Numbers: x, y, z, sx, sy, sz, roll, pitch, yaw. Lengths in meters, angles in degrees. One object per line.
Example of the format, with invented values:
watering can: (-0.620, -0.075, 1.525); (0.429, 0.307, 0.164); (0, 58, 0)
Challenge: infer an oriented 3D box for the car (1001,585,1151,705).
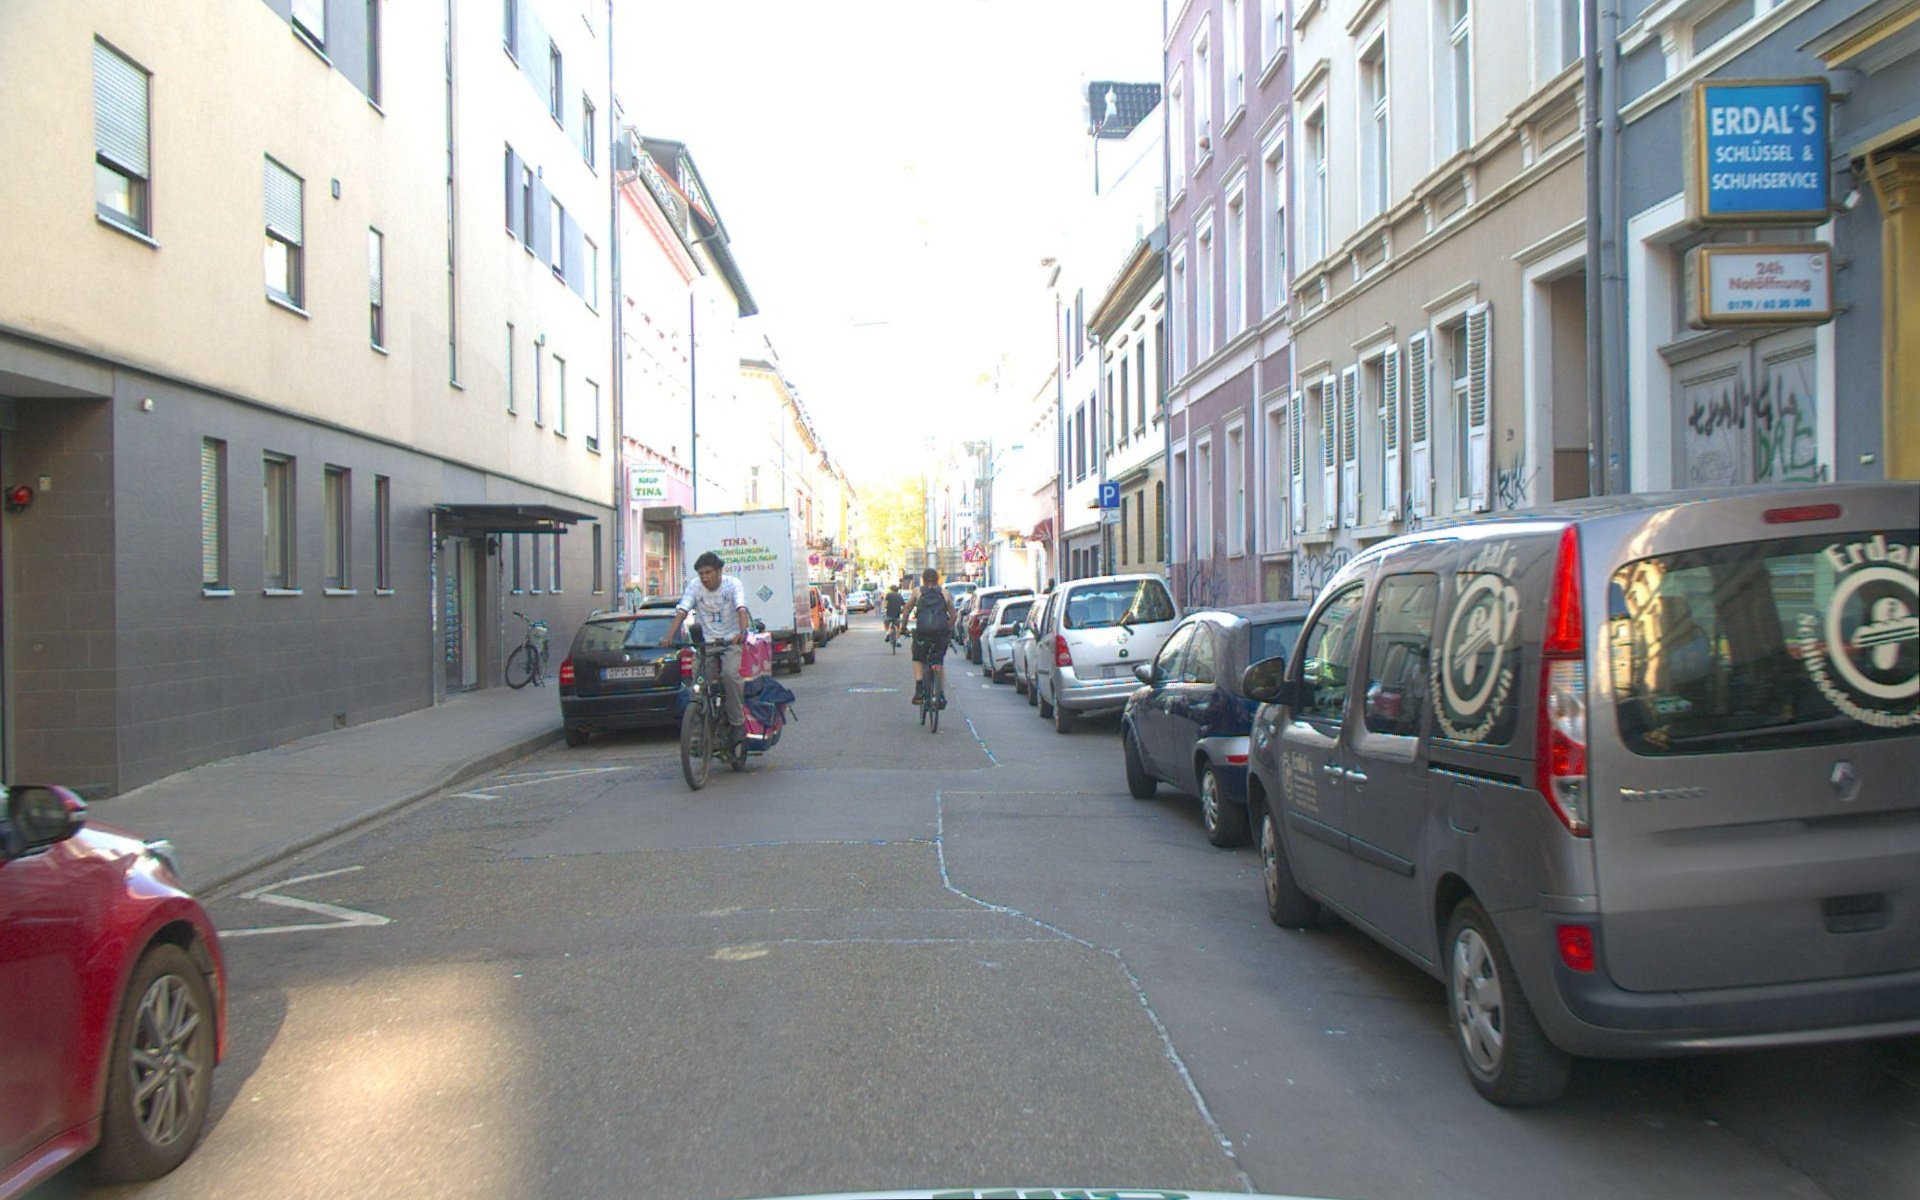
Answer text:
car: (1.648, 0.630, 25.029); (1.663, 1.570, 4.626); (-3, 0, -3)

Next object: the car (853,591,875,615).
car: (-7.846, 0.265, 135.441); (1.715, 1.853, 3.794); (-2, 0, -3)

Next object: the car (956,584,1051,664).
car: (0.953, 0.518, 38.543); (1.879, 1.736, 4.364); (0, 0, -3)

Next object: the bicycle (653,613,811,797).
bicycle: (-1.868, 0.818, 13.990); (0.957, 1.337, 2.555); (-2, 0, 0)

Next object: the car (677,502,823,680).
car: (-4.385, -0.169, 35.752); (2.296, 3.349, 7.151); (-3, 0, -2)

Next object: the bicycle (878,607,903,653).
bicycle: (-1.800, 0.764, 42.904); (0.635, 1.149, 2.134); (0, 0, -3)

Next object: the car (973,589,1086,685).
car: (1.215, 0.650, 30.440); (1.653, 1.570, 4.044); (-3, 0, -3)

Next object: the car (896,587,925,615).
car: (-2.882, 0.074, 95.623); (1.579, 1.587, 3.608); (0, 0, -3)

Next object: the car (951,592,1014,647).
car: (0.650, 0.581, 51.152); (1.613, 1.500, 3.968); (-5, 0, -3)

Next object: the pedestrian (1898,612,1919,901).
pedestrian: (4.650, 0.705, 7.302); (0.662, 1.299, 0.628); (0, -1, -1)

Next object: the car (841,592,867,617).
car: (-7.590, 0.347, 118.421); (1.715, 1.713, 3.794); (-2, 0, -3)

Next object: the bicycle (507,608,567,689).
bicycle: (-6.665, 0.746, 26.148); (0.480, 1.185, 1.773); (-3, 0, -1)

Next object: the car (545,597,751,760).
car: (-3.512, 0.807, 19.373); (1.683, 1.504, 4.497); (-3, 1, -3)

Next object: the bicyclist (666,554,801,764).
bicyclist: (-1.879, 0.474, 13.852); (0.931, 1.656, 0.953); (-3, 0, -1)

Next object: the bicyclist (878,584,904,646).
bicyclist: (-1.801, 0.394, 42.952); (0.657, 1.595, 0.716); (0, -1, -4)

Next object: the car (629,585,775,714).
car: (-3.852, 0.673, 25.320); (1.683, 1.679, 4.243); (-3, 1, -3)

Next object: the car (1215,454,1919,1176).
car: (2.343, 0.556, 6.392); (1.861, 1.825, 4.312); (0, 0, -3)

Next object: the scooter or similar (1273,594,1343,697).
scooter or similar: (4.319, 0.546, 20.581); (0.441, 1.203, 1.368); (-4, 0, -3)

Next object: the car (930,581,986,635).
car: (-0.105, 0.292, 62.106); (1.716, 1.911, 3.968); (-2, 0, -5)

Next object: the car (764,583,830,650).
car: (-4.849, 0.479, 49.663); (1.718, 1.848, 4.075); (-3, 0, -3)

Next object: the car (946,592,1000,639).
car: (0.424, 0.515, 57.063); (1.714, 1.513, 3.799); (-2, 0, -1)

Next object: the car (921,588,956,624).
car: (-1.052, 0.283, 79.130); (1.579, 1.662, 3.608); (0, 0, -3)

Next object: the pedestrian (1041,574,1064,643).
pedestrian: (2.769, 0.256, 49.510); (0.631, 2.049, 0.763); (0, -1, -3)

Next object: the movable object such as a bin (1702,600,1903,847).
movable object such as a bin: (4.549, 0.646, 8.962); (0.747, 1.265, 0.580); (-2, 0, -5)

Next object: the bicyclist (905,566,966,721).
bicyclist: (-0.292, 0.482, 18.814); (0.654, 1.706, 1.096); (0, -1, -3)

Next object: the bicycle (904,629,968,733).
bicycle: (-0.293, 0.890, 18.802); (0.663, 1.093, 1.940); (0, 0, -3)

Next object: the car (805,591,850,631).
car: (-5.513, 0.460, 69.209); (1.715, 1.600, 3.794); (-2, 0, -3)

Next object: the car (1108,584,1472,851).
car: (2.090, 0.688, 11.416); (1.522, 1.537, 3.608); (0, 0, -5)

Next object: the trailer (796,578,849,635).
trailer: (-5.377, 0.249, 65.078); (1.844, 2.129, 3.735); (-2, 0, -3)

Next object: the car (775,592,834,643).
car: (-5.164, 0.573, 55.429); (1.715, 1.564, 4.317); (-2, 0, -3)

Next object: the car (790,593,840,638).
car: (-5.288, 0.549, 60.622); (1.620, 1.564, 3.632); (-2, 0, -3)

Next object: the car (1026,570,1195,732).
car: (1.698, 0.559, 19.655); (1.525, 1.742, 3.556); (0, 0, -3)

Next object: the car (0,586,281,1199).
car: (-2.889, 0.798, 3.046); (1.716, 1.548, 3.867); (-4, 0, -2)
